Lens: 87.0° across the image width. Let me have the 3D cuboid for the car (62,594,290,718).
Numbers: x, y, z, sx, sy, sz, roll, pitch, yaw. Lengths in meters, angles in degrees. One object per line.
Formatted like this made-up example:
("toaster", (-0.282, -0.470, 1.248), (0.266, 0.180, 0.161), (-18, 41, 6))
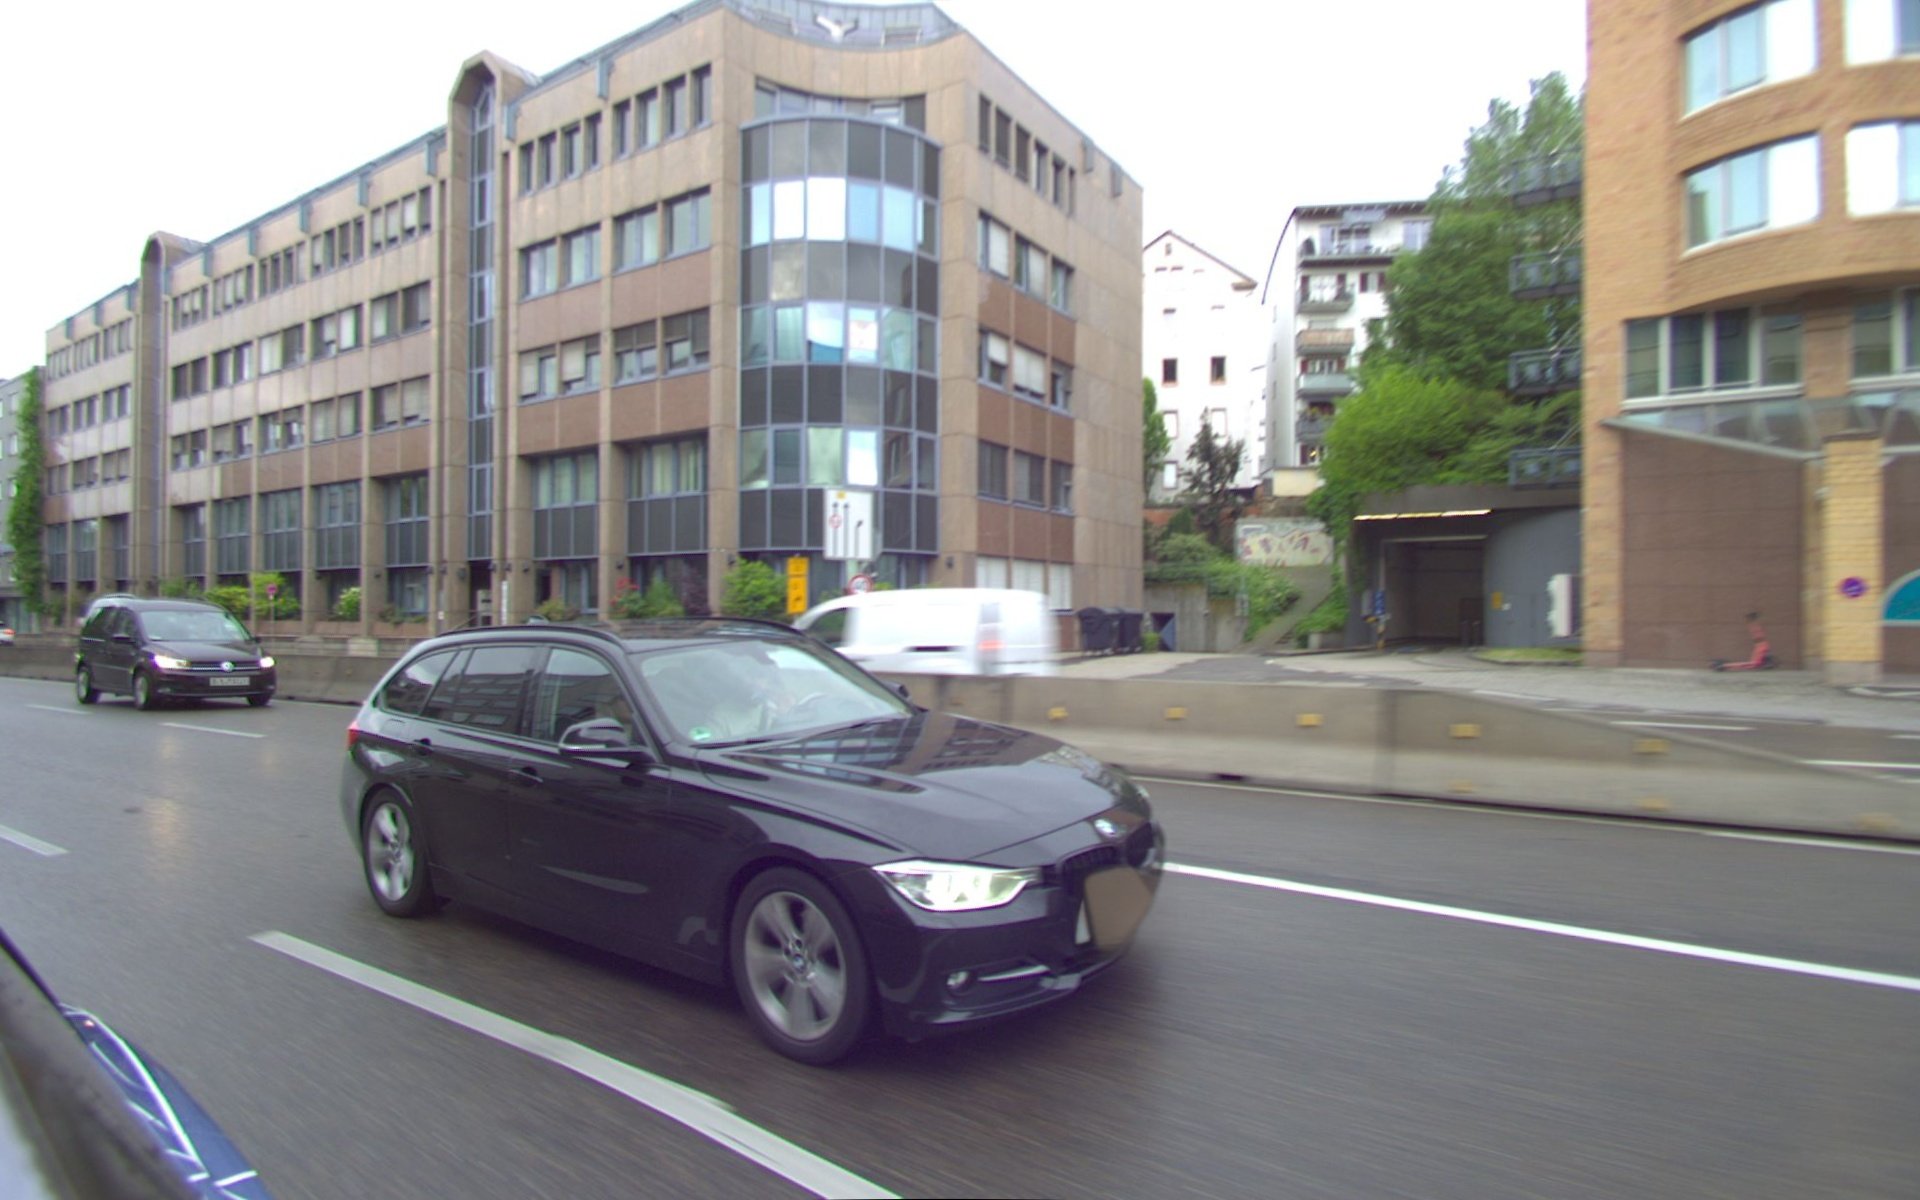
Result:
("car", (-13.049, 0.863, 16.780), (4.240, 1.814, 1.779), (-1, -1, 34))

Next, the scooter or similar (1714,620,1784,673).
("scooter or similar", (16.486, 0.965, 21.161), (1.038, 1.071, 0.447), (-1, -2, 23))

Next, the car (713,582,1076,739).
("car", (-1.010, 0.753, 13.768), (4.866, 1.797, 1.869), (-2, -2, 35))

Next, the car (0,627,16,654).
("car", (-46.865, 1.935, 48.196), (4.537, 1.279, 1.829), (-1, -1, 34))

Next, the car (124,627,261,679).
("car", (-19.942, 1.354, 26.273), (3.713, 1.240, 1.600), (-1, -1, 31))

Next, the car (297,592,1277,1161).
("car", (-1.128, 0.764, 4.694), (4.647, 1.454, 1.752), (-2, -2, 36))
